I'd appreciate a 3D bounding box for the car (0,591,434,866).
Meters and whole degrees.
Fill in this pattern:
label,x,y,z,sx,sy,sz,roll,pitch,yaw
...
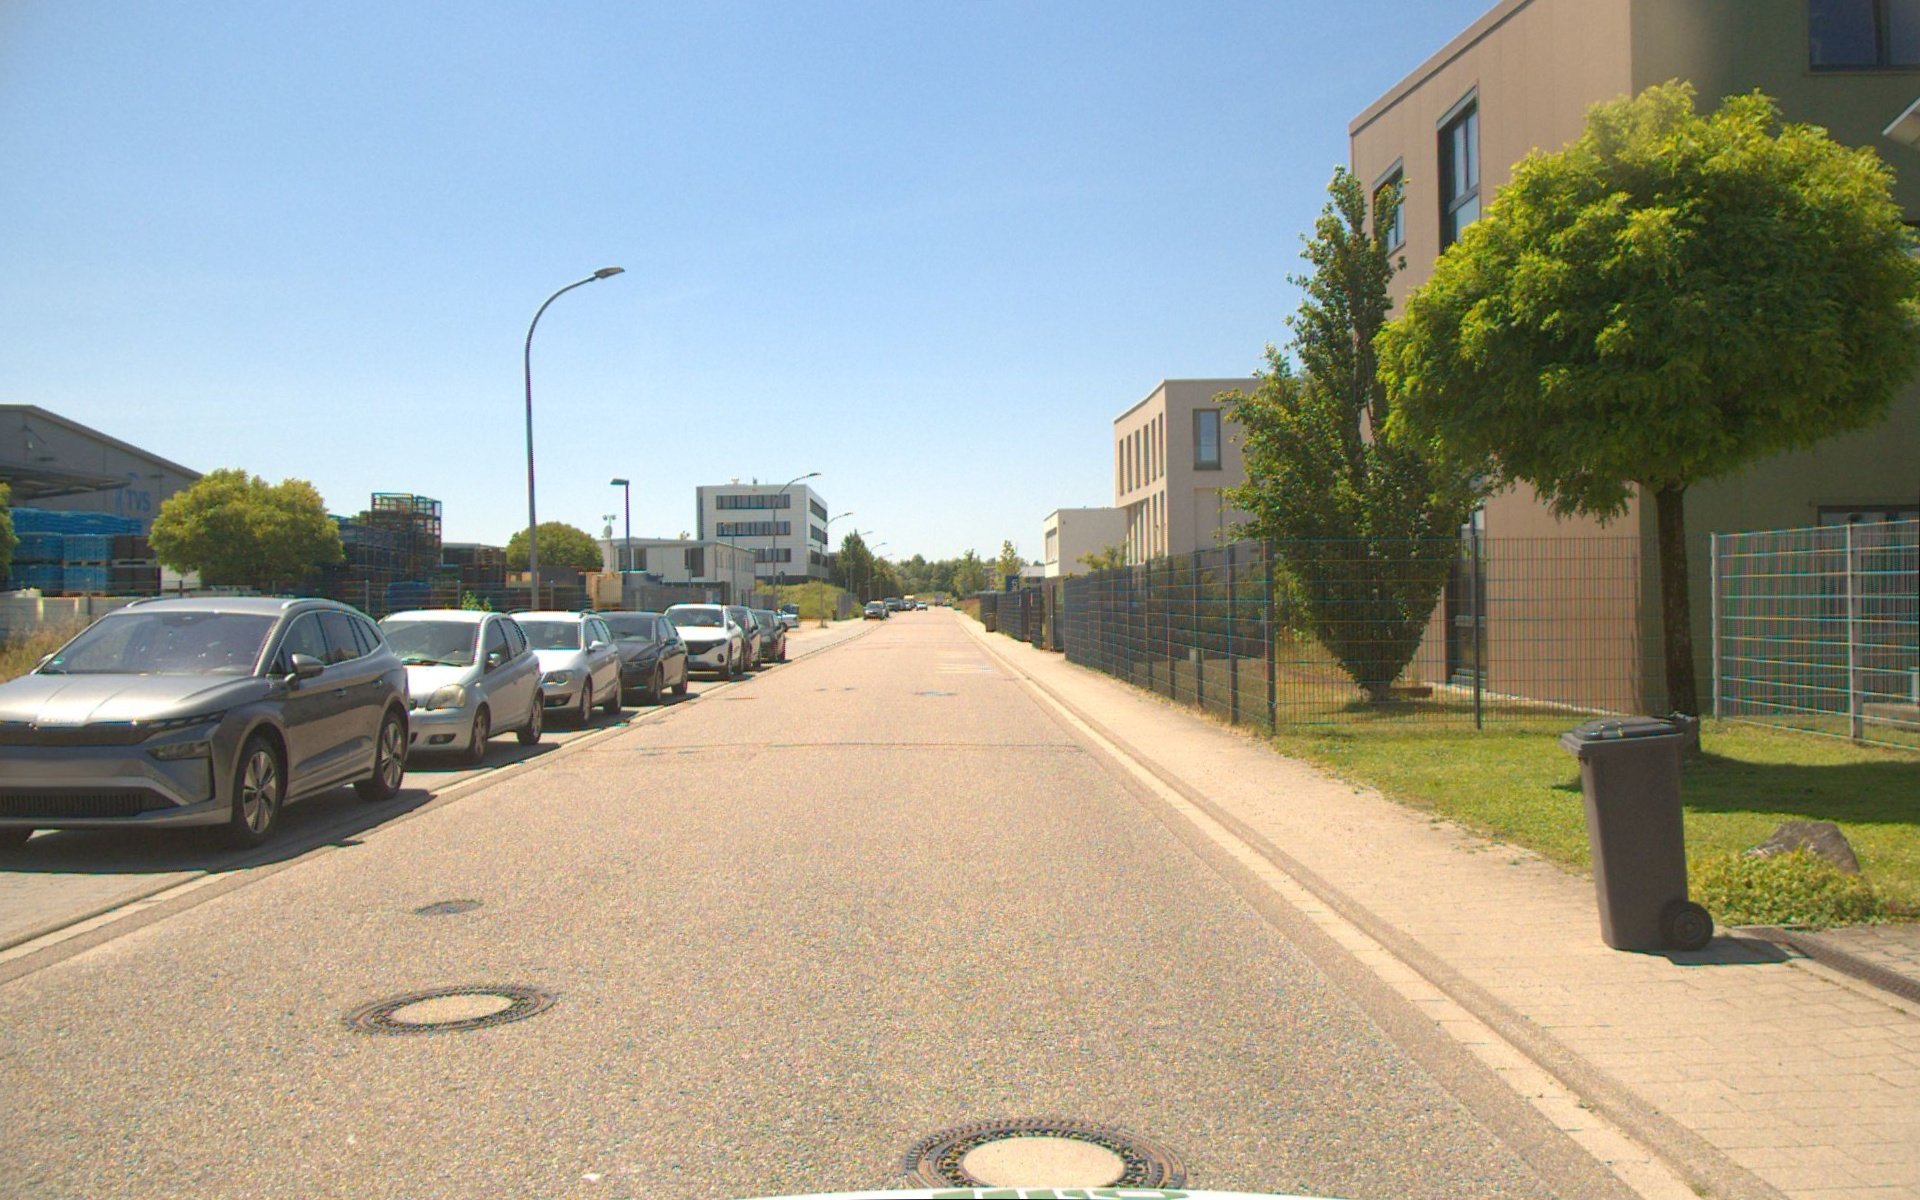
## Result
label,x,y,z,sx,sy,sz,roll,pitch,yaw
car,-5.377,0.769,12.078,1.754,1.635,4.461,0,0,-2

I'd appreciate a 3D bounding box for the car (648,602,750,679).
label,x,y,z,sx,sy,sz,roll,pitch,yaw
car,-5.792,0.874,37.141,1.733,1.620,4.358,0,0,-2

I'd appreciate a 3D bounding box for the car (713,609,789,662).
label,x,y,z,sx,sy,sz,roll,pitch,yaw
car,-6.048,0.998,48.253,1.733,1.487,4.332,0,0,-1

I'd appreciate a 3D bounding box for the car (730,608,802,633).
label,x,y,z,sx,sy,sz,roll,pitch,yaw
car,-11.926,1.279,101.701,4.191,1.388,1.897,-2,0,-1

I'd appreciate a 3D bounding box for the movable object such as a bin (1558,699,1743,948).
label,x,y,z,sx,sy,sz,roll,pitch,yaw
movable object such as a bin,2.889,0.922,6.958,0.540,0.944,0.522,-5,-1,9

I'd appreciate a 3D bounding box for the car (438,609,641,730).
label,x,y,z,sx,sy,sz,roll,pitch,yaw
car,-5.770,0.892,23.283,1.739,1.506,4.814,0,0,-2

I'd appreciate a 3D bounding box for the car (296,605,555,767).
label,x,y,z,sx,sy,sz,roll,pitch,yaw
car,-5.581,0.827,17.730,1.659,1.552,3.734,0,0,-2

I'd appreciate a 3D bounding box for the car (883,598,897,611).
label,x,y,z,sx,sy,sz,roll,pitch,yaw
car,-8.366,0.503,197.989,1.611,1.516,3.207,-1,0,-1

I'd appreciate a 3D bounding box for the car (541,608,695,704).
label,x,y,z,sx,sy,sz,roll,pitch,yaw
car,-5.765,0.895,28.386,1.819,1.506,4.228,0,0,-1

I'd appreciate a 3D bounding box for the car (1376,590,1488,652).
label,x,y,z,sx,sy,sz,roll,pitch,yaw
car,12.085,0.526,42.576,1.621,1.469,3.999,-1,0,-1

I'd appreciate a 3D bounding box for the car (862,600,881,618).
label,x,y,z,sx,sy,sz,roll,pitch,yaw
car,-7.633,0.734,143.019,1.437,1.516,3.207,-1,0,-1

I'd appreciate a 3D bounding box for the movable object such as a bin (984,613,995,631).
label,x,y,z,sx,sy,sz,roll,pitch,yaw
movable object such as a bin,1.720,1.268,95.264,0.541,0.944,0.522,-5,1,3

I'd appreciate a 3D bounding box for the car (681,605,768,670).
label,x,y,z,sx,sy,sz,roll,pitch,yaw
car,-6.008,0.936,42.639,1.733,1.583,4.499,0,0,-2
